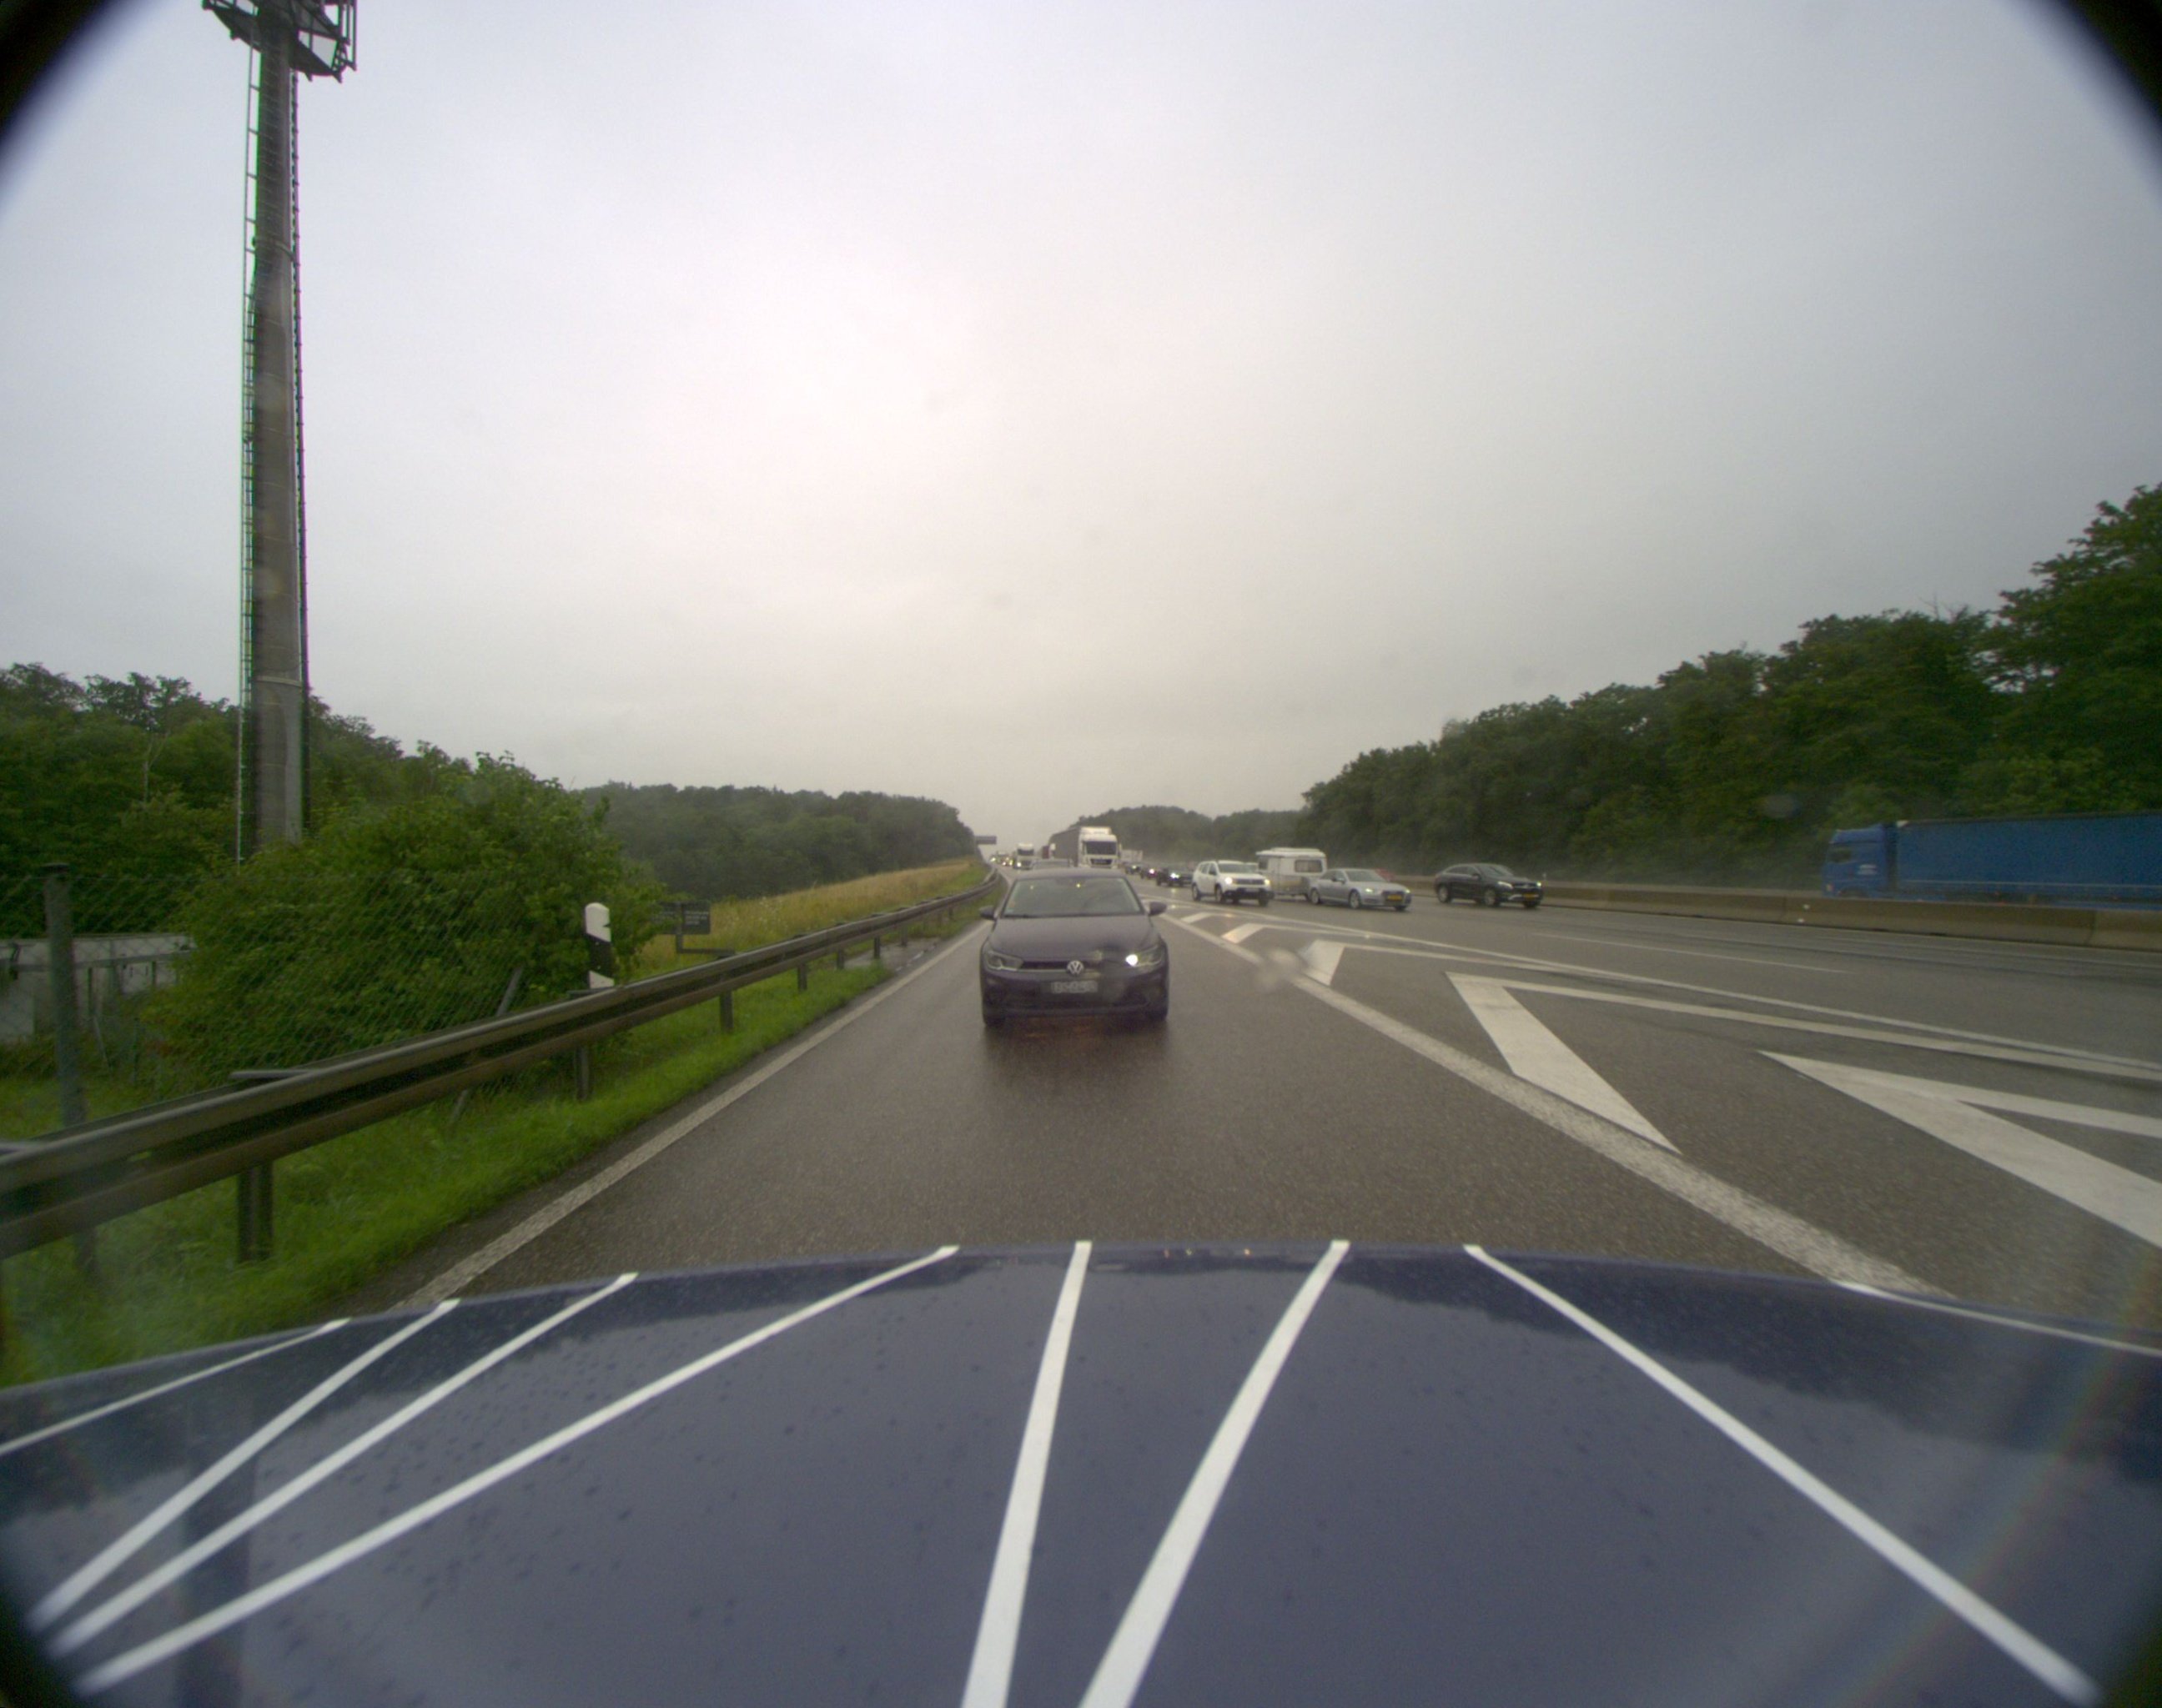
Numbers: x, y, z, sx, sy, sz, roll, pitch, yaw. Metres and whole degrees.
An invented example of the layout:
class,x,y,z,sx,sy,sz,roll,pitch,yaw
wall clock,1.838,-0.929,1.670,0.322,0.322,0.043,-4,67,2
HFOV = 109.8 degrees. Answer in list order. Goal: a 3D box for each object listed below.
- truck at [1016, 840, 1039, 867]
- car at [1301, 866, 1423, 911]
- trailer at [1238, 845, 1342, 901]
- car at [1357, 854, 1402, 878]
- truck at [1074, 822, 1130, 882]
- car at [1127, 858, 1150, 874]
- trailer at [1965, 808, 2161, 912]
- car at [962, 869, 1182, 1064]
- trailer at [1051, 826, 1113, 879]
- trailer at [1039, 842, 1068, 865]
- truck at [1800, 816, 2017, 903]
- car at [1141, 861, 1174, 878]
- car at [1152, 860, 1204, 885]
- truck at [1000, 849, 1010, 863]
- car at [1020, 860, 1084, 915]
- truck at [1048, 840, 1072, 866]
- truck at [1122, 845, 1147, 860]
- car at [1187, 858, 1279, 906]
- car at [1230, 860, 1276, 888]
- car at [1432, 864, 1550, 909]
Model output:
class,x,y,z,sx,sy,sz,roll,pitch,yaw
truck,-8.285,-0.055,116.419,2.760,3.985,6.501,2,0,-10
car,9.597,1.148,26.435,1.852,1.340,4.577,2,-1,-11
trailer,8.751,0.766,32.410,2.136,2.143,5.175,2,-1,-11
car,26.002,1.022,66.294,2.000,2.002,3.997,0,0,-8
truck,1.378,-0.132,54.447,2.882,4.028,5.929,1,0,-9
car,7.075,1.476,94.201,1.734,1.781,3.891,2,0,-12
trailer,36.698,0.190,24.140,2.741,3.397,11.388,0,0,-10
car,-0.101,0.932,8.135,1.670,1.394,4.261,-3,0,-1
trailer,-0.184,-0.048,64.193,2.905,3.959,14.106,1,0,-9
trailer,-4.583,-0.055,122.752,2.692,3.484,15.113,-2,0,-9
truck,35.173,0.219,32.636,2.771,3.395,5.705,0,0,-11
car,6.652,1.403,66.843,1.824,1.405,4.121,1,-2,-10
car,6.242,1.181,49.312,1.887,1.472,4.497,1,0,-13
truck,-23.687,0.561,235.950,2.597,4.120,5.229,-2,-1,-3
car,-0.857,1.000,24.600,1.810,1.532,4.000,-3,0,1
truck,-3.201,-0.157,113.975,2.698,3.635,5.321,-2,0,-9
truck,13.103,-0.348,187.779,3.158,3.643,15.199,0,0,-7
car,5.451,0.984,27.840,1.792,1.576,4.320,2,-1,-10
car,12.904,1.496,57.249,1.942,2.002,3.996,-2,0,-11
car,16.451,1.253,30.770,1.710,1.565,4.521,2,0,-10
